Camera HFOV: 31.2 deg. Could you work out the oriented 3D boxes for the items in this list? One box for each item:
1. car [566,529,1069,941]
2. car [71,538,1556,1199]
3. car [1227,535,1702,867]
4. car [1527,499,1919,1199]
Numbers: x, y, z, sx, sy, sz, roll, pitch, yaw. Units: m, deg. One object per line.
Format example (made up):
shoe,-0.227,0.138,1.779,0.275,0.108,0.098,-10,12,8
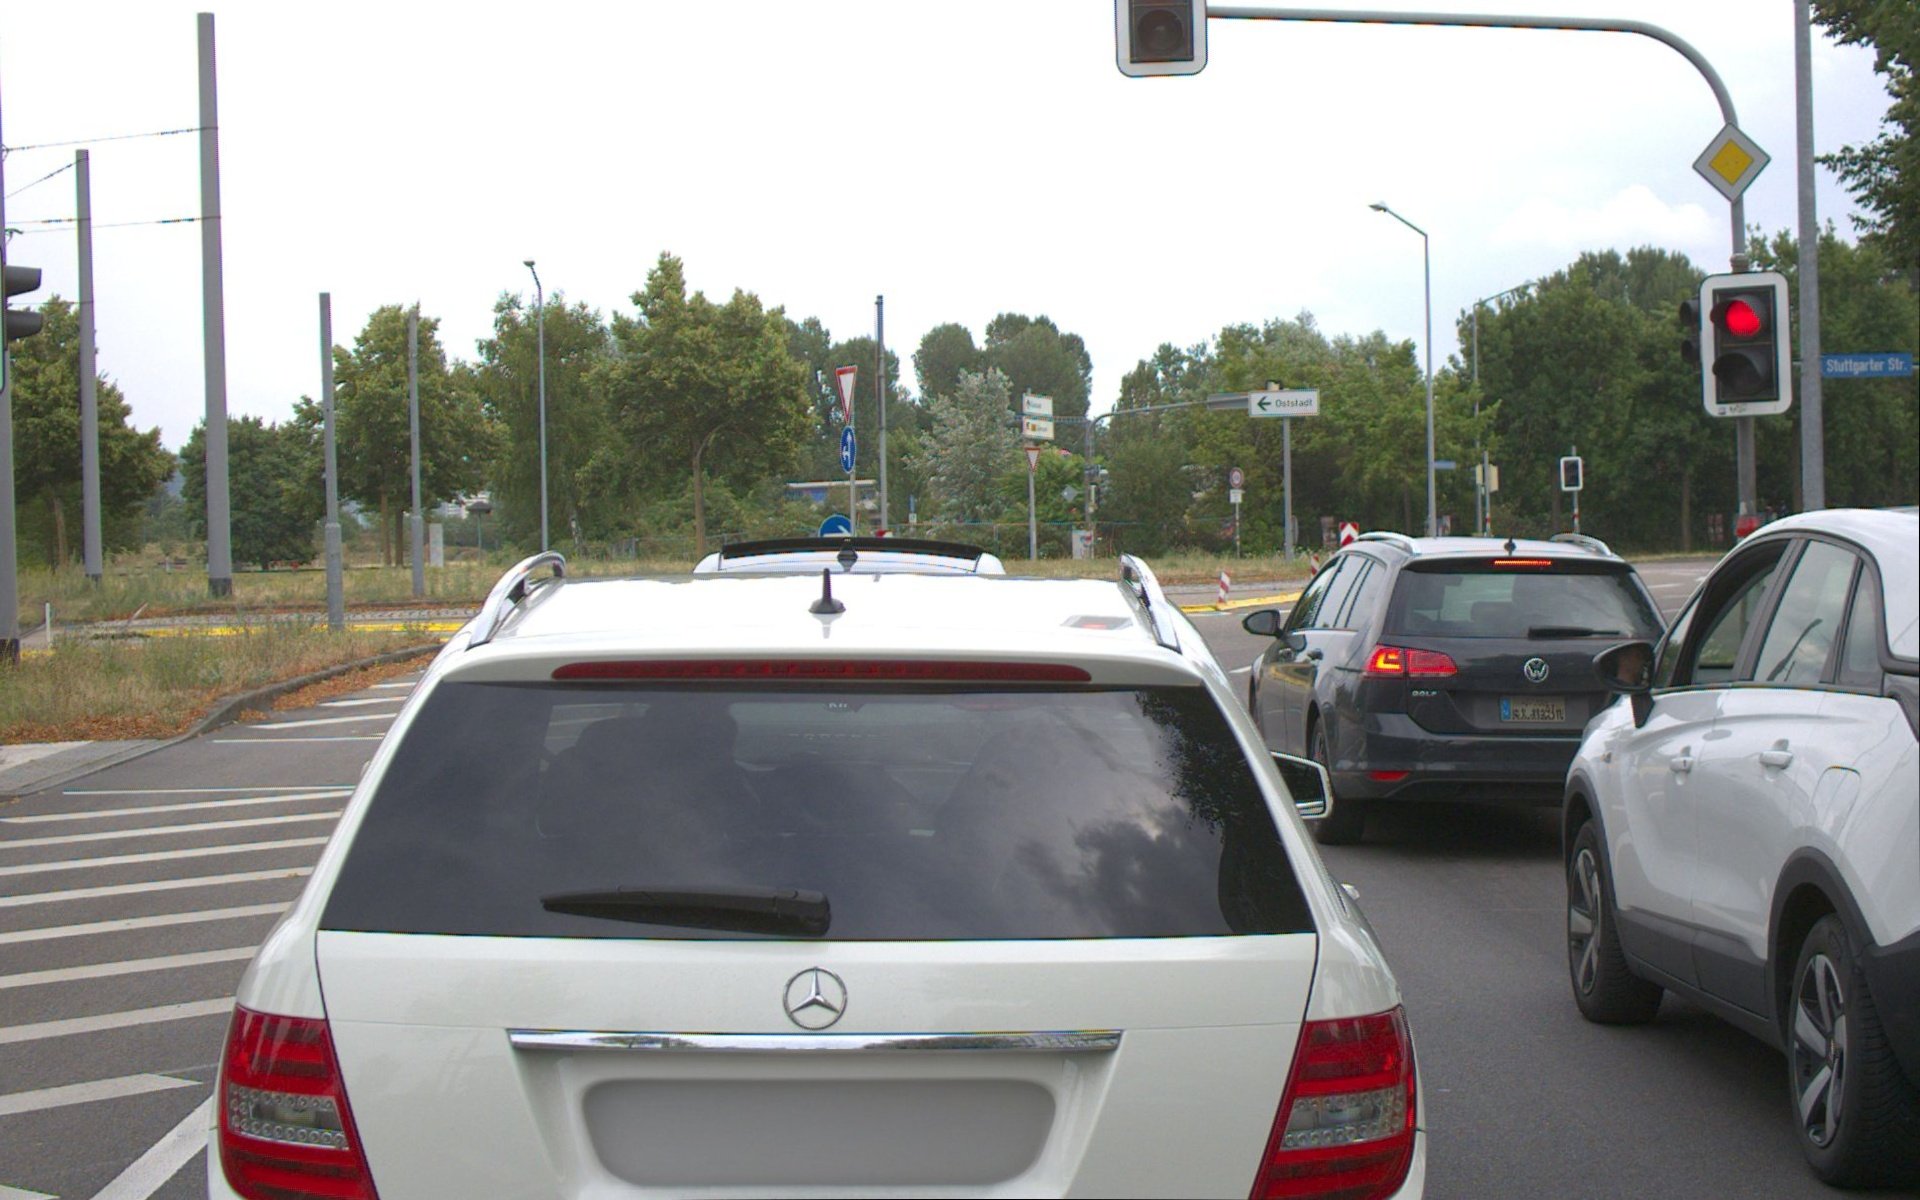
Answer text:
car,-0.590,0.442,14.154,1.773,1.443,3.911,0,1,-2
car,-0.257,0.628,6.083,1.773,1.443,3.911,0,1,-2
car,2.382,0.413,17.147,1.624,1.443,3.911,0,1,-2
car,2.747,0.542,9.114,1.787,1.619,3.911,-1,1,0
